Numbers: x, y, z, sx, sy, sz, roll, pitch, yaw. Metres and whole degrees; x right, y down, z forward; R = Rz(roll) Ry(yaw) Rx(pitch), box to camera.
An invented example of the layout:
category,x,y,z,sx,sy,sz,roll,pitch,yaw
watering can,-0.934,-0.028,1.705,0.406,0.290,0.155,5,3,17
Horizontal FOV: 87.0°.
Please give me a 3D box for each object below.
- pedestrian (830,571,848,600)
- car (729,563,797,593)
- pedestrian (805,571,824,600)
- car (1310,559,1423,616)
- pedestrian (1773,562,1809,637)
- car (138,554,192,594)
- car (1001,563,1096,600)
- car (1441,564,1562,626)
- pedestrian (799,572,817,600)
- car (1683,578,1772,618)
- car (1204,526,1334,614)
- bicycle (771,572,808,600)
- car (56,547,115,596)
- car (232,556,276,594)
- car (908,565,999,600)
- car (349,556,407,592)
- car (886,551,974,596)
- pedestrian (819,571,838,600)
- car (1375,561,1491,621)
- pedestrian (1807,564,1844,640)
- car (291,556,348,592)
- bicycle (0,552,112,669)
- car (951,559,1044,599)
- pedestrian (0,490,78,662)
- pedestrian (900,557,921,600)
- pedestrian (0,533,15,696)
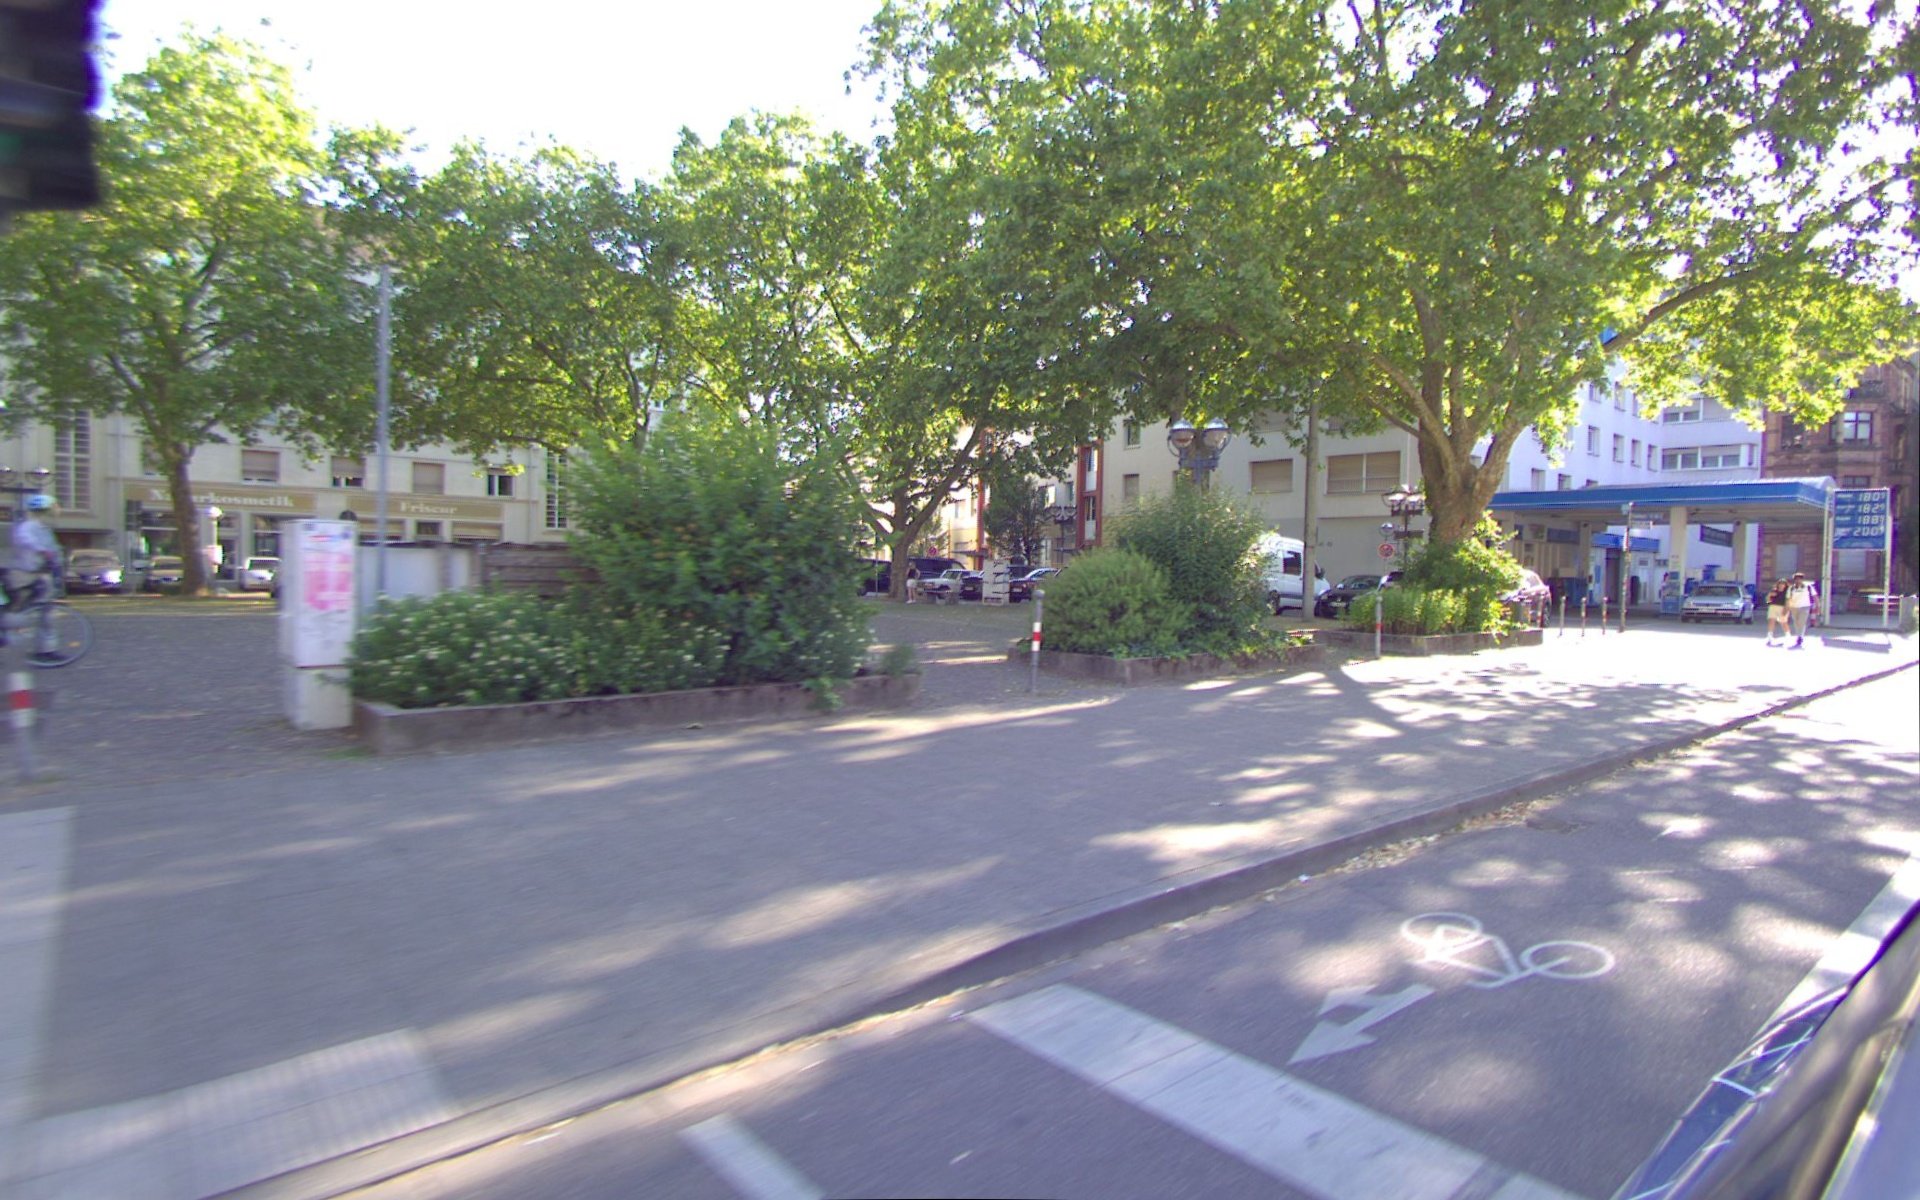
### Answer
category,x,y,z,sx,sy,sz,roll,pitch,yaw
pedestrian,-5.241,-0.647,43.724,0.618,1.242,0.541,-1,0,-27
car,-10.099,-1.103,51.664,1.747,1.426,3.995,-1,1,-39
pedestrian,-6.388,-0.642,44.498,0.627,1.242,0.534,-1,0,33
car,13.015,-0.391,32.265,4.110,1.680,1.804,0,1,-44
pedestrian,21.043,-0.016,25.634,0.531,1.867,0.630,-1,0,-42
car,-34.409,-1.144,43.769,1.748,1.498,4.350,-1,4,-39
car,3.783,-0.763,42.682,4.110,1.521,1.708,0,1,-44
car,15.296,-0.159,28.492,4.110,1.620,1.804,0,1,-44
pedestrian,-6.808,-0.646,45.338,0.625,1.242,0.535,-1,0,24
car,26.767,-0.091,35.273,3.688,1.343,1.719,-1,1,-40
car,10.466,-0.988,34.140,4.631,2.776,1.997,-1,0,-40
bicycle,-7.660,-0.638,45.537,1.527,1.242,0.632,-1,0,-32
car,-36.192,-1.217,41.961,1.748,1.774,4.350,-1,4,-39
car,-32.047,-1.158,45.909,1.384,1.498,3.572,-1,4,-39
car,-0.254,-0.799,46.493,4.110,1.521,1.708,0,1,-44
car,-28.447,-1.292,49.395,1.748,1.498,4.350,-1,4,-39
car,-1.414,-1.242,48.598,4.110,2.053,1.708,0,1,-44
pedestrian,-5.748,-0.646,44.183,0.627,1.242,0.534,-1,0,33
car,14.284,-0.261,30.457,4.110,1.680,1.804,0,1,-44
pedestrian,21.526,0.040,25.175,0.531,1.867,0.630,-1,0,-42
car,-30.161,-1.248,47.569,1.748,1.498,4.350,-1,4,-39
bicycle,-10.014,0.113,10.660,1.692,1.178,0.697,-1,0,7
car,1.675,-0.917,44.638,4.110,1.681,1.708,0,1,-44
pedestrian,-10.138,-0.253,10.997,0.545,1.807,0.626,-1,0,1
pedestrian,-1.912,-0.831,39.075,0.620,1.633,0.539,-1,0,-38
pedestrian,-8.745,0.130,8.696,0.613,1.445,0.847,-1,0,-19
